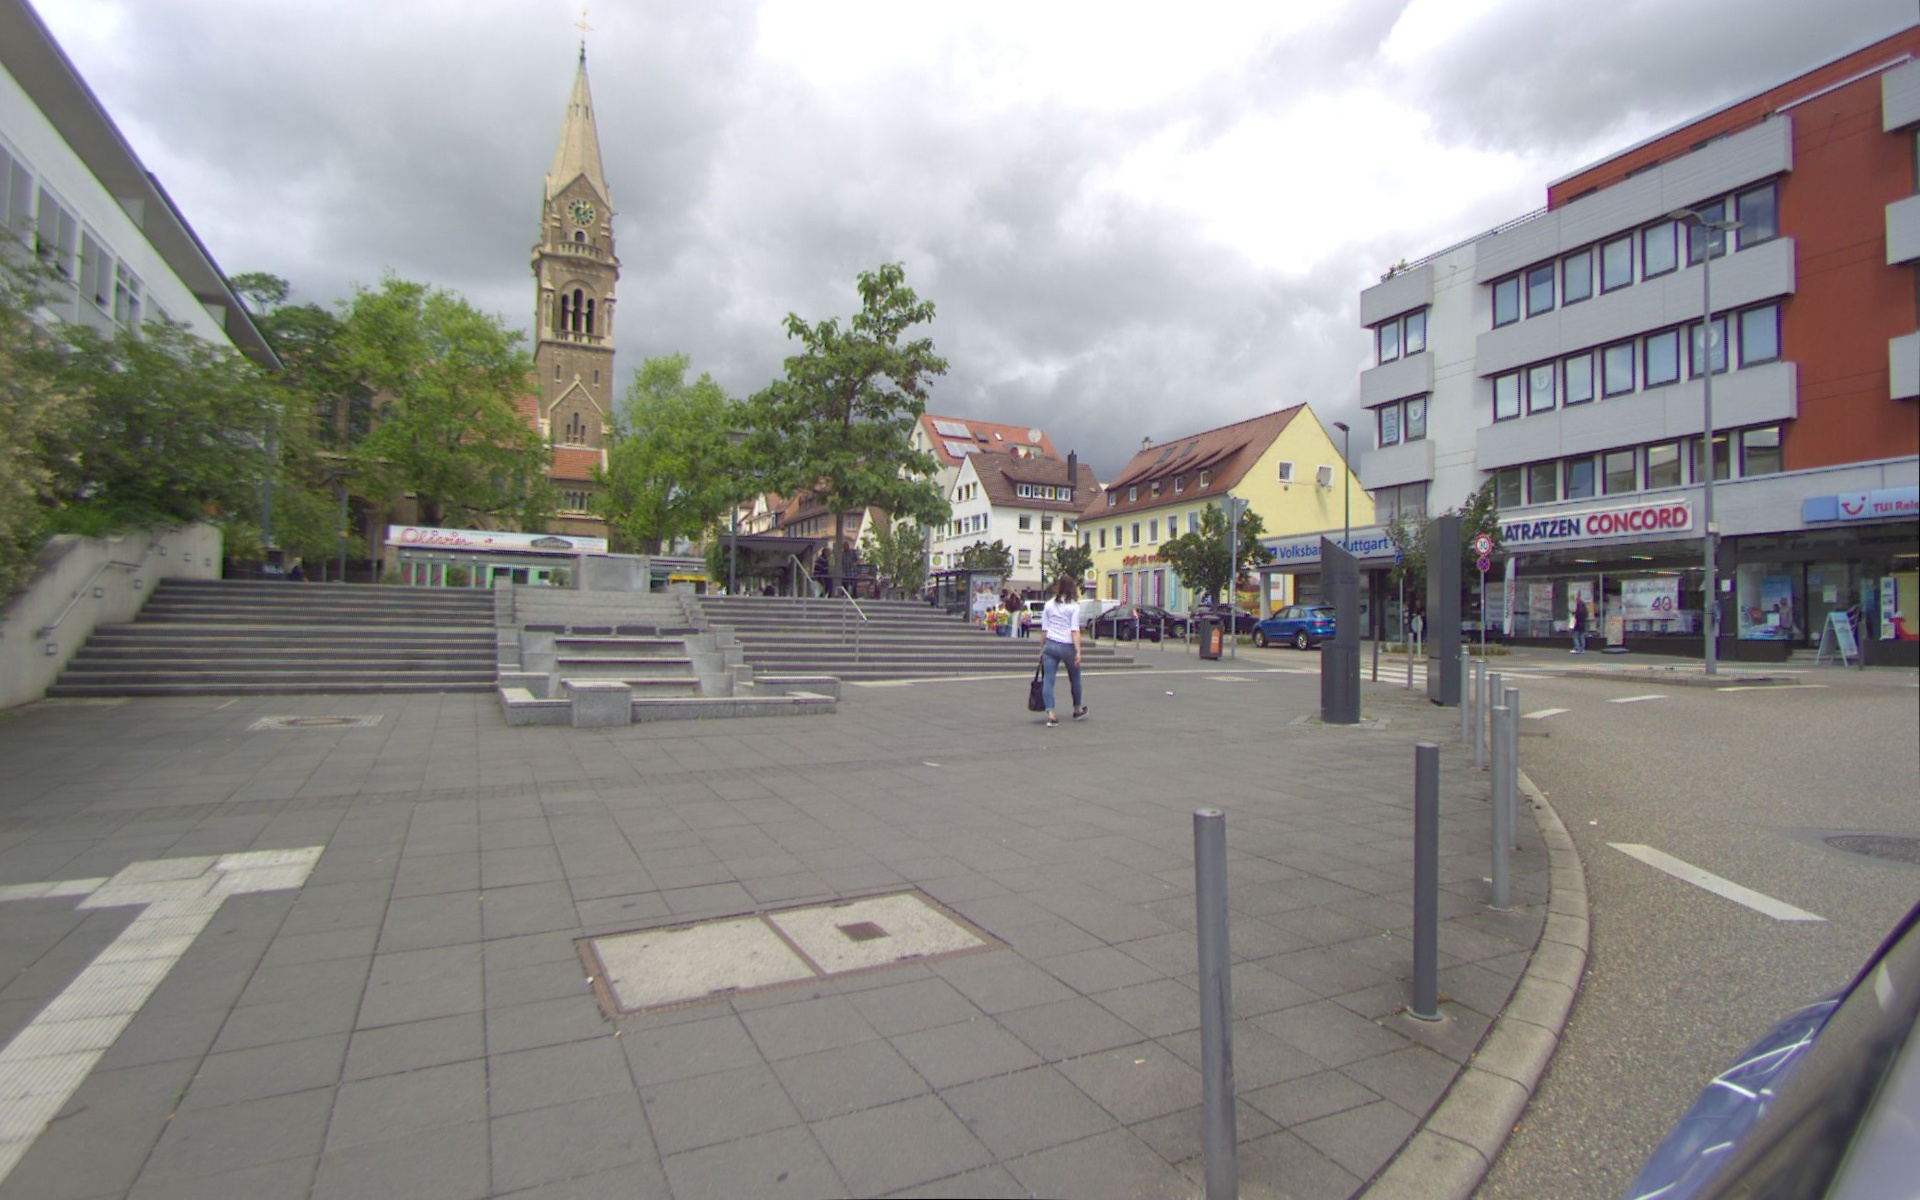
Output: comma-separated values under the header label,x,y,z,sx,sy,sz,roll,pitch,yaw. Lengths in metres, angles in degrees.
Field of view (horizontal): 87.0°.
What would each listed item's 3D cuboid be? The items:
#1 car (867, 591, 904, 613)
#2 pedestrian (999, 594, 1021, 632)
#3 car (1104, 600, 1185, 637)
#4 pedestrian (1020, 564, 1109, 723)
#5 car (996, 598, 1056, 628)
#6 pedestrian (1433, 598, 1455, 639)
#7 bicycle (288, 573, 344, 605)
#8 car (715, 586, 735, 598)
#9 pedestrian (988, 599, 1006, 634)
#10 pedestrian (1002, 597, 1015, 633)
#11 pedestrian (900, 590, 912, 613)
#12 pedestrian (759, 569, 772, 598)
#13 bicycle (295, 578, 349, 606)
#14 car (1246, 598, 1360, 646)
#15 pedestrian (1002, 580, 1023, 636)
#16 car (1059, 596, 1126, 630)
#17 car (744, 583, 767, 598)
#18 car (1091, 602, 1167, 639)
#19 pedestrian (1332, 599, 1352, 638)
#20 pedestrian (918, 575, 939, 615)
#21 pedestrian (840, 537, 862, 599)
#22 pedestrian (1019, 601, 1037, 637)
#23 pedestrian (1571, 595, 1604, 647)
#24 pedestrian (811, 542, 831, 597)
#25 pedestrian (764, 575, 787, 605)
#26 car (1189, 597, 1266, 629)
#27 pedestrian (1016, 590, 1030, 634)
label,x,y,z,sx,sy,sz,roll,pitch,yaw
car,-6.032,0.140,81.649,1.636,1.667,4.141,0,1,-24
pedestrian,1.789,0.476,36.382,0.596,1.320,0.427,3,-2,36
car,8.812,0.844,48.166,3.680,1.543,1.888,1,2,14
pedestrian,1.216,0.484,11.743,0.704,1.768,0.765,0,-1,41
car,3.811,0.717,59.221,1.627,1.693,4.358,0,0,-25
pedestrian,20.754,0.803,43.385,0.632,1.727,0.587,3,-4,-31
bicycle,-29.315,-0.492,46.091,0.683,1.324,2.000,1,-3,36
car,-30.145,-1.050,129.888,1.697,1.449,3.510,1,2,-27
pedestrian,1.233,0.548,33.751,0.431,1.163,0.383,3,-1,-14
pedestrian,1.659,0.522,34.558,0.384,1.214,0.510,3,-1,4
pedestrian,-4.367,0.114,81.603,0.648,1.783,0.779,1,1,-23
pedestrian,-8.404,-0.692,43.693,0.557,1.243,0.567,1,-1,-11
bicycle,-29.877,-0.371,47.424,0.683,1.157,2.000,1,-4,36
car,12.616,0.769,37.515,1.664,1.620,4.340,-2,1,-19
pedestrian,1.755,0.258,33.918,0.530,1.846,0.436,3,-2,-12
car,7.493,0.684,57.621,1.725,1.837,4.484,0,0,-23
car,-23.844,-1.112,117.888,1.636,1.545,3.970,0,2,-28
car,7.248,0.844,43.767,1.668,1.437,4.127,0,0,-16
pedestrian,16.086,0.770,42.645,0.501,1.586,0.587,3,-2,-20
pedestrian,-1.311,-0.193,42.560,0.784,1.658,0.687,2,-1,-7
pedestrian,-2.738,-0.802,25.381,0.494,1.528,0.455,2,-2,-9
pedestrian,2.316,0.637,34.482,0.466,1.187,0.391,4,-2,-18
pedestrian,19.362,0.637,31.240,0.576,1.608,0.640,0,-1,-24
pedestrian,-3.436,-0.746,25.013,0.356,1.302,0.642,2,-2,-16
pedestrian,-8.171,-0.446,44.770,0.760,1.285,0.673,0,-1,17
car,13.805,0.677,52.214,3.563,1.578,1.672,1,0,-23
pedestrian,2.364,0.445,37.861,0.382,1.640,0.467,3,-2,13
